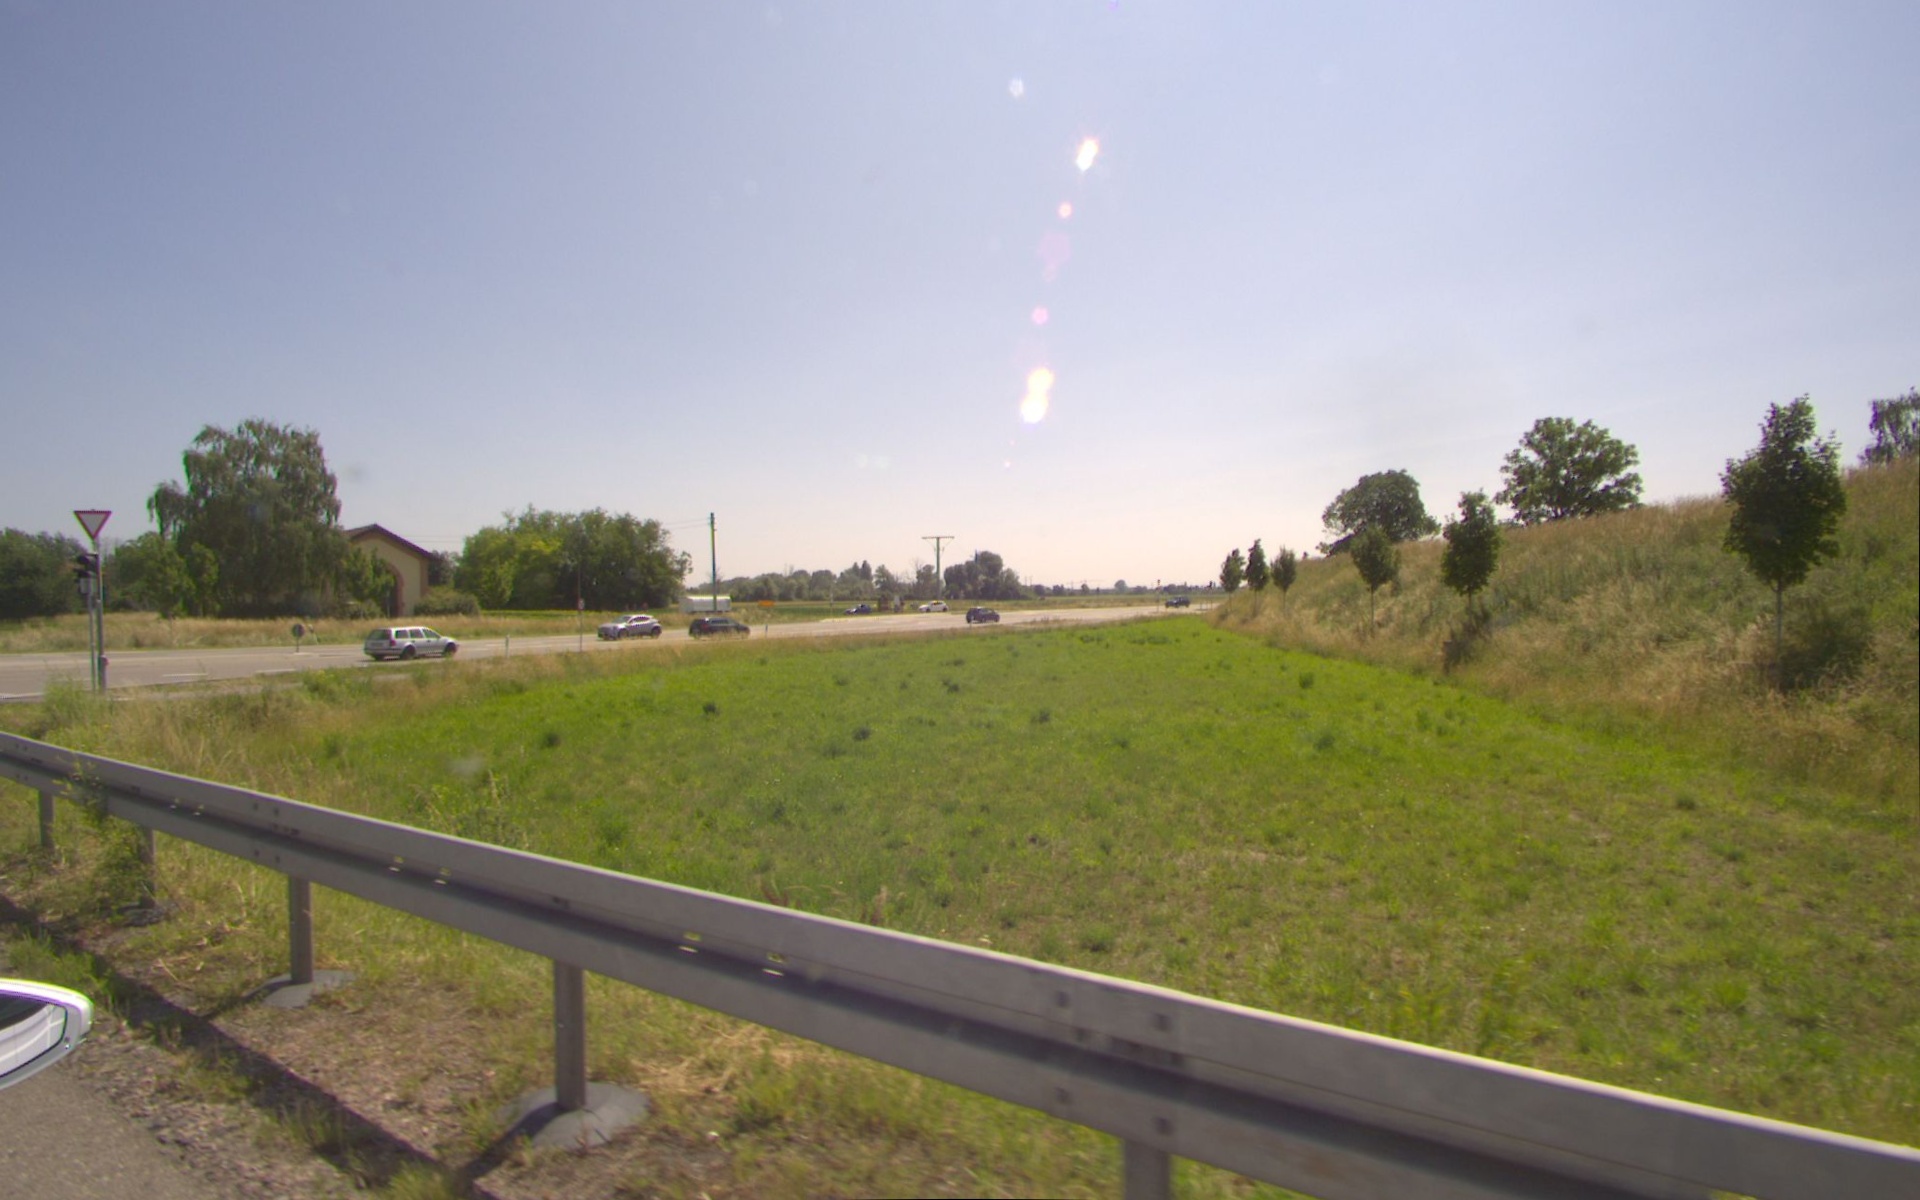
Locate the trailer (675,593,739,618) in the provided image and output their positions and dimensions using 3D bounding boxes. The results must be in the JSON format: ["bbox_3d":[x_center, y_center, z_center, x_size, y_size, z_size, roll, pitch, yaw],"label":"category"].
[{"bbox_3d":[-26.495,0.560,104.962,2.650,2.489,6.340,1,2,36],"label":"trailer"}]

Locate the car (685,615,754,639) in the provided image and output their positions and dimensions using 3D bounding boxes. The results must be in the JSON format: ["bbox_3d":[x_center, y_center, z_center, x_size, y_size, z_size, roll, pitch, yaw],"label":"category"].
[{"bbox_3d":[-15.422,1.728,64.363,1.779,1.495,4.394,-1,-1,31],"label":"car"}]

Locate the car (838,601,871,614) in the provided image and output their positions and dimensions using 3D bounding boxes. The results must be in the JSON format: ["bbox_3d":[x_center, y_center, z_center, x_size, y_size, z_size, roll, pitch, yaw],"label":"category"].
[{"bbox_3d":[-12.502,0.881,119.044,1.658,1.406,3.810,2,1,39],"label":"car"}]

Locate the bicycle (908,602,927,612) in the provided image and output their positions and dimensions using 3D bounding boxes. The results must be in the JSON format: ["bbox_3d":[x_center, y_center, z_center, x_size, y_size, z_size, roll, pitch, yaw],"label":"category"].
[{"bbox_3d":[-6.023,1.007,142.639,2.572,1.389,0.900,-2,-2,21],"label":"bicycle"}]

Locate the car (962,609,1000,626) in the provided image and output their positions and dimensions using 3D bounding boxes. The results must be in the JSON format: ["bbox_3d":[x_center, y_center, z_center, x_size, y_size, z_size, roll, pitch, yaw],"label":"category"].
[{"bbox_3d":[1.989,1.692,94.172,1.781,1.541,3.860,-1,-1,34],"label":"car"}]

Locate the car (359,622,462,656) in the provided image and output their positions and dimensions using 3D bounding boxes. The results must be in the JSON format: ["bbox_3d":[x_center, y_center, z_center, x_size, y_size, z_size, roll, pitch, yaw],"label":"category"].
[{"bbox_3d":[-24.514,1.712,44.824,1.772,1.447,4.090,-1,-1,14],"label":"car"}]

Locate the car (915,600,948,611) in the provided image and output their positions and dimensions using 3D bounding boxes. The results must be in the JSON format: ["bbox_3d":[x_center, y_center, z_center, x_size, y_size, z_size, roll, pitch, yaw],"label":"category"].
[{"bbox_3d":[-3.656,0.752,129.259,3.980,1.350,1.687,0,1,-31],"label":"car"}]

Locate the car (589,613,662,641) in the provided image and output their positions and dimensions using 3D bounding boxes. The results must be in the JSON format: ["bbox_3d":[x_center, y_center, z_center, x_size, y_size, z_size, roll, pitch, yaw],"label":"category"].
[{"bbox_3d":[-21.334,1.683,64.062,1.841,1.565,4.534,1,1,26],"label":"car"}]

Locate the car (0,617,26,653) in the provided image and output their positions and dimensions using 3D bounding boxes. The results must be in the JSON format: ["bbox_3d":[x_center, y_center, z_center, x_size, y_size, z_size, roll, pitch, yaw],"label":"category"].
[{"bbox_3d":[-40.515,1.465,40.096,1.751,1.387,4.247,1,1,34],"label":"car"}]
